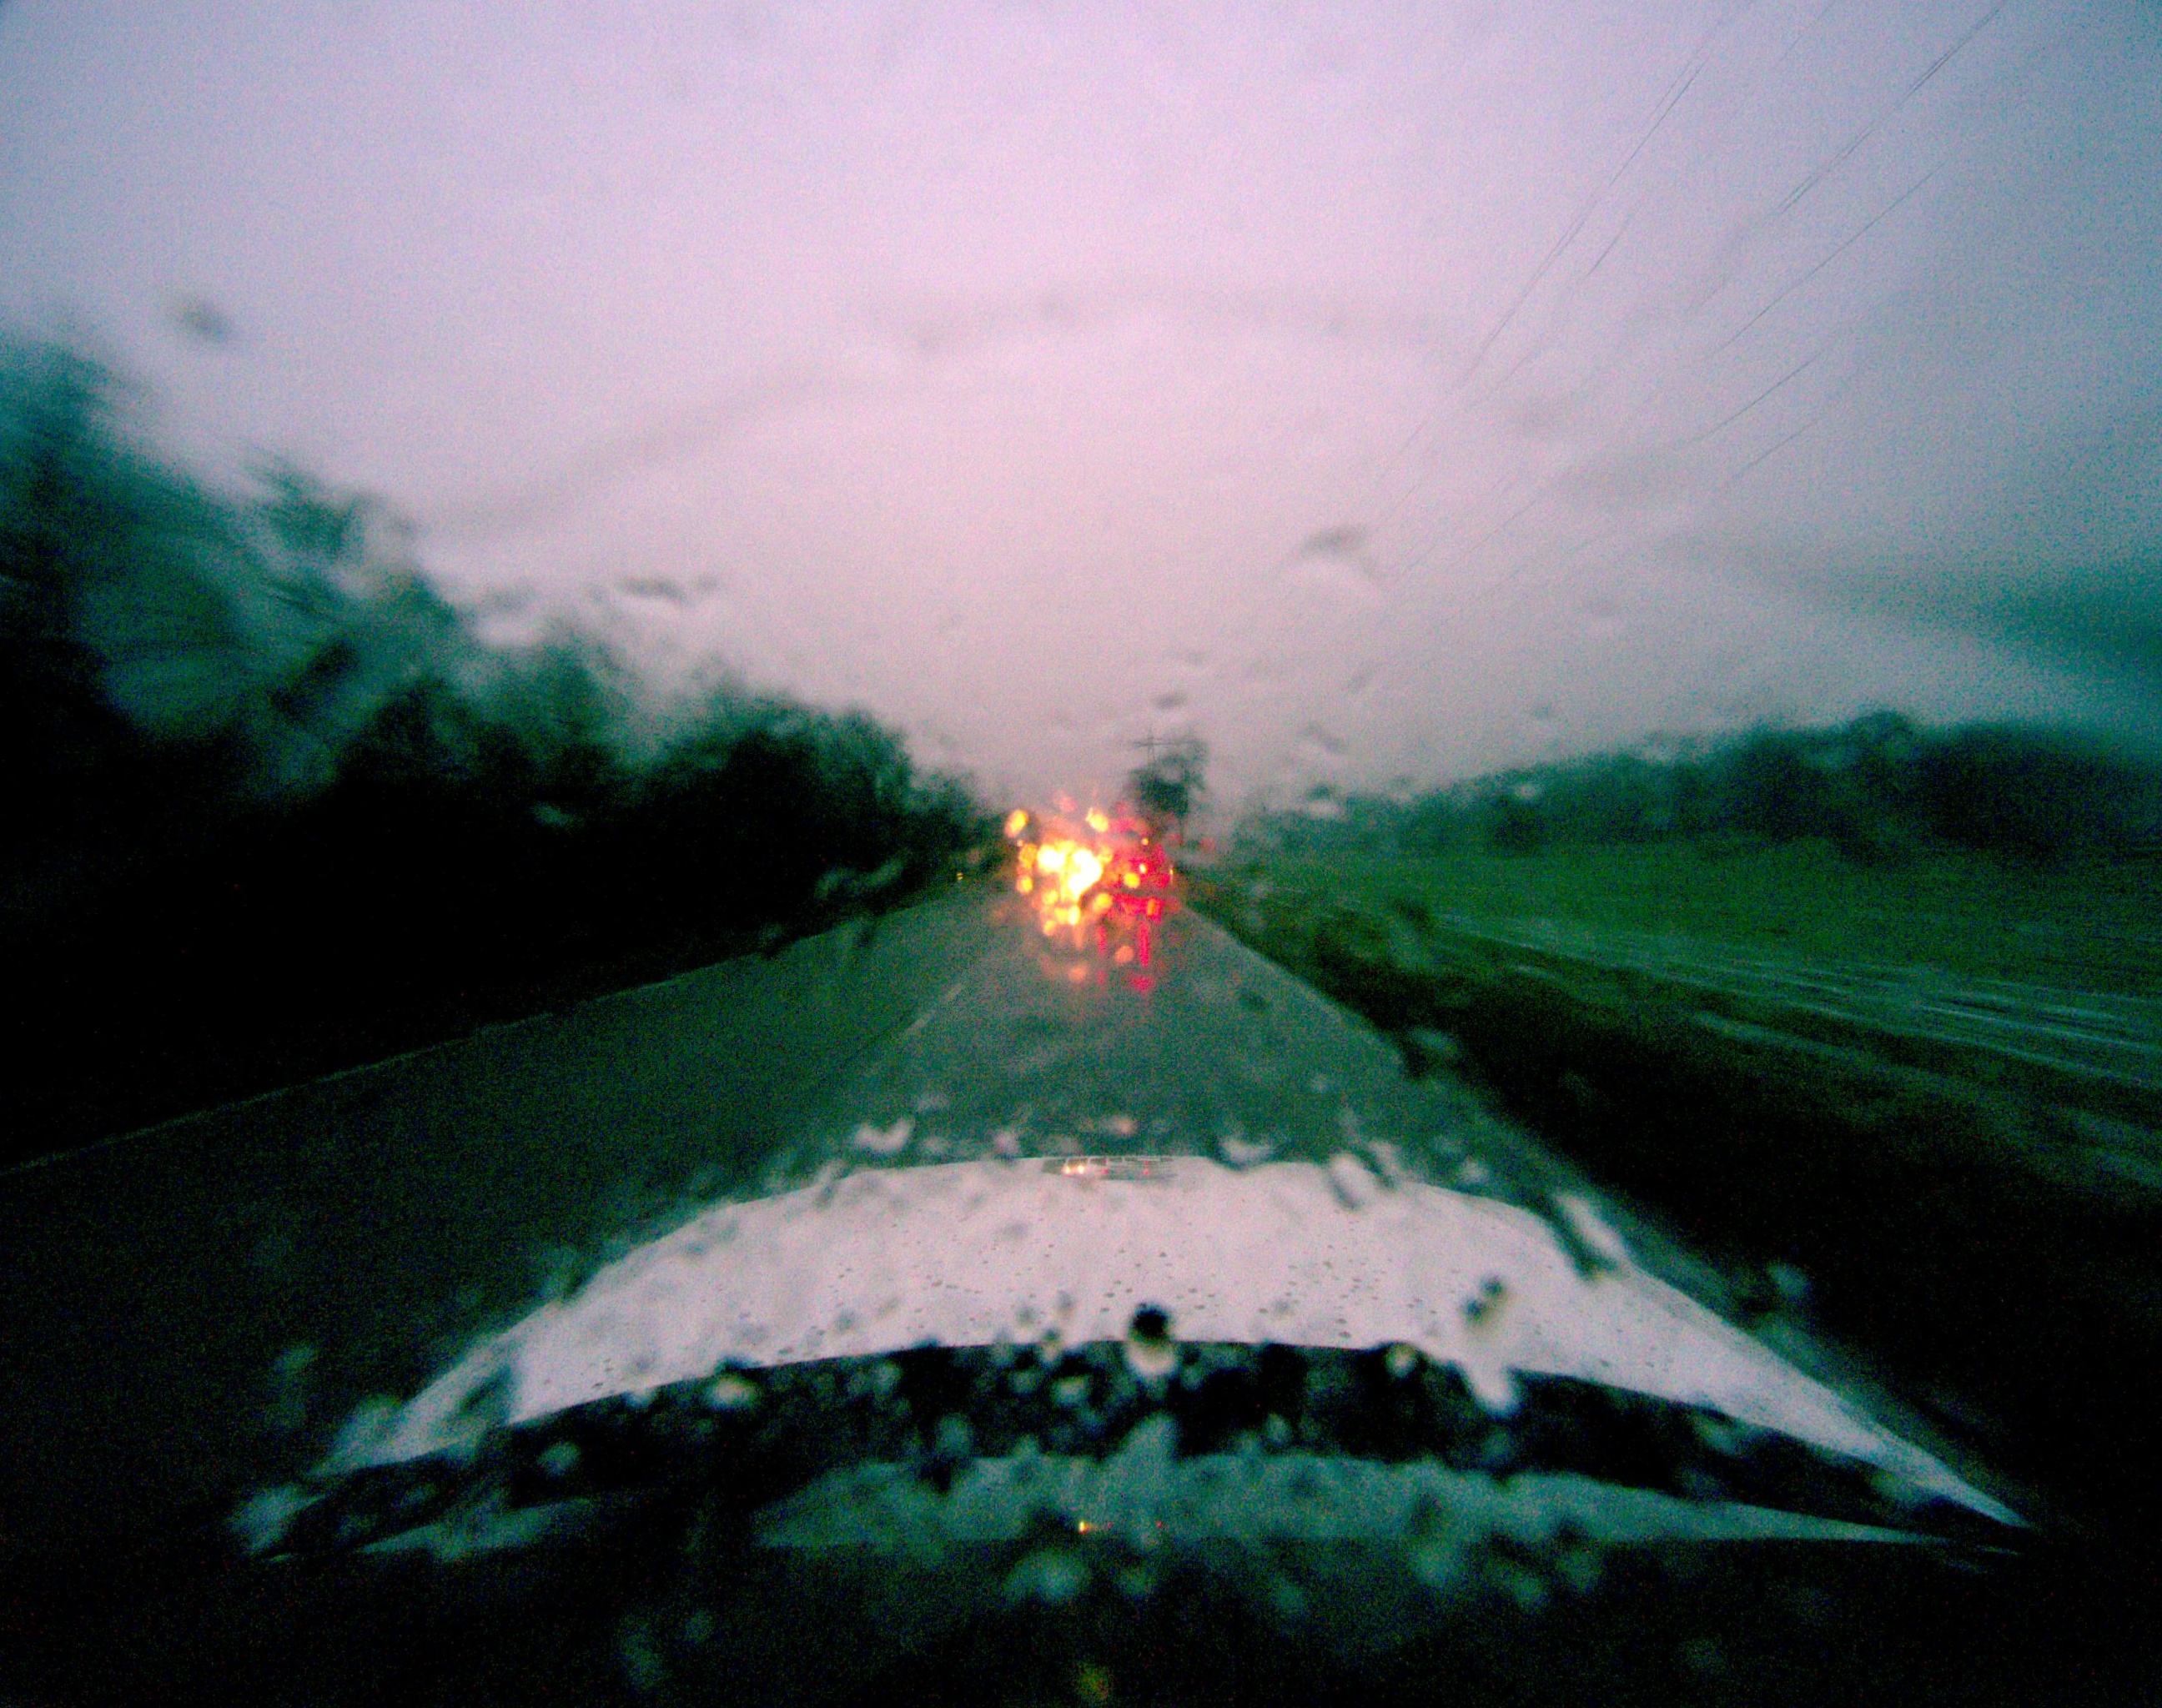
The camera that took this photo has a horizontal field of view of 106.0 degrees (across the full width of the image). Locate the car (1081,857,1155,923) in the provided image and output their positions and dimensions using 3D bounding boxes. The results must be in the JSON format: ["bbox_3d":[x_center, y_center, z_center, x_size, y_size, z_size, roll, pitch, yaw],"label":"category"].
[{"bbox_3d":[1.065,0.988,24.304,1.986,1.752,4.001,-1,0,1],"label":"car"}]

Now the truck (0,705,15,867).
[{"bbox_3d":[-25.825,-1.490,15.490,2.981,3.632,6.068,-1,0,1],"label":"truck"}]

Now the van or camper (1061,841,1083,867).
[{"bbox_3d":[-0.984,-0.002,92.738,2.013,2.776,6.746,-2,0,2],"label":"van or camper"}]

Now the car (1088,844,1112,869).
[{"bbox_3d":[1.635,0.235,69.676,1.986,2.013,4.001,-2,0,1],"label":"car"}]
